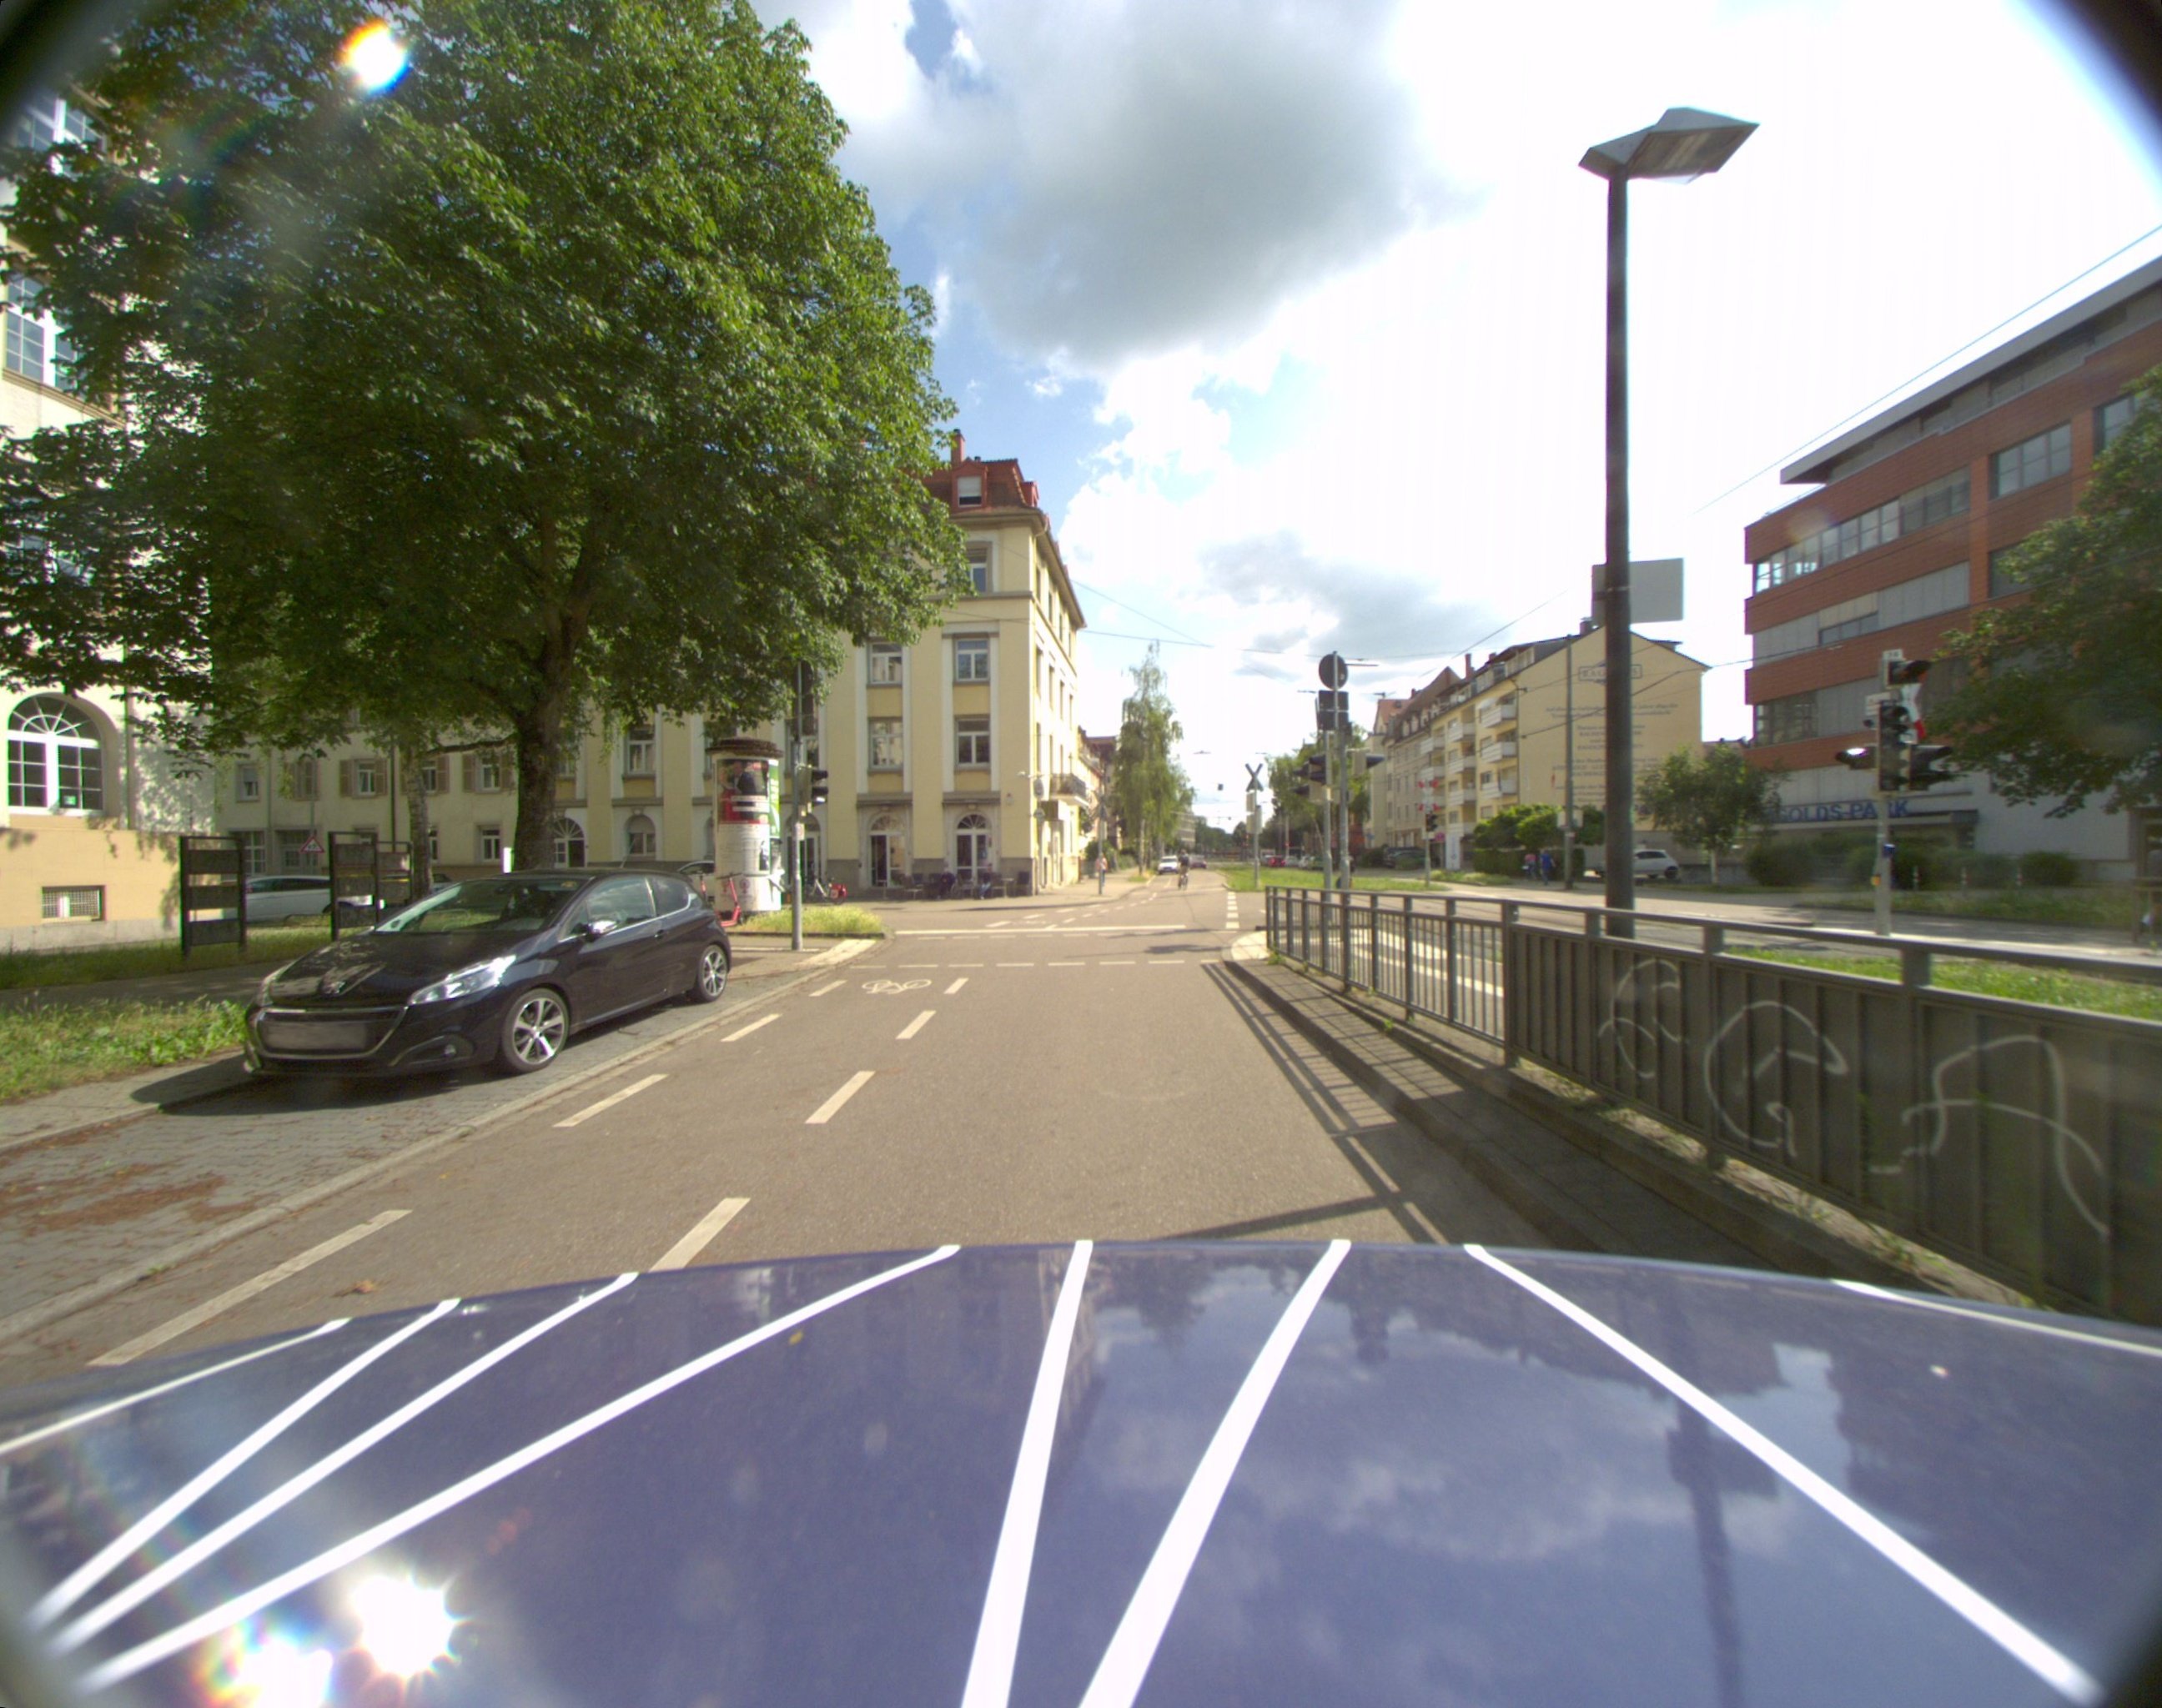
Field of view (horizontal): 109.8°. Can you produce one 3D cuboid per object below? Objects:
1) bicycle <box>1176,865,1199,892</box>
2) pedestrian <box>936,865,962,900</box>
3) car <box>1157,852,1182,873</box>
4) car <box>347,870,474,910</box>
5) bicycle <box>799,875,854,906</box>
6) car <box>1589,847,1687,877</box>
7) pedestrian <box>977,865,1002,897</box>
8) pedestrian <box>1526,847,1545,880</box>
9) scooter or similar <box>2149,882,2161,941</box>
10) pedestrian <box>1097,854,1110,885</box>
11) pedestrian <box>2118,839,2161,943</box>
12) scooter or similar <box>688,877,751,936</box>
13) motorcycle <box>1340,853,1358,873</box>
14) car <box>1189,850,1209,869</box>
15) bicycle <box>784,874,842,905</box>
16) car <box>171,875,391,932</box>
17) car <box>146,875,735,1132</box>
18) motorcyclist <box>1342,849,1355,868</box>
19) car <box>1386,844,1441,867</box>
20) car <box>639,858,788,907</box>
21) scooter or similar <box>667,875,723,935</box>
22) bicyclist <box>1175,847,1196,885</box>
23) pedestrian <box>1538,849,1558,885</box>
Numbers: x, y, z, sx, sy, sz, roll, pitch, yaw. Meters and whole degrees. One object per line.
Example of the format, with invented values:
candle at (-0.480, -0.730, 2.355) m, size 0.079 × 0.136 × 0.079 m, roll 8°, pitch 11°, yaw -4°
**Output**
bicycle at (4.985, 1.108, 35.654) m, size 0.772 × 1.097 × 2.571 m, roll -5°, pitch 0°, yaw 3°
pedestrian at (-5.177, 1.113, 29.799) m, size 0.804 × 1.281 × 0.759 m, roll -1°, pitch 3°, yaw 4°
car at (7.443, 0.718, 64.412) m, size 1.848 × 1.606 × 3.814 m, roll -2°, pitch 1°, yaw 4°
car at (-27.624, 1.477, 31.336) m, size 3.993 × 1.417 × 1.858 m, roll -1°, pitch 4°, yaw 13°
bicycle at (-9.283, 1.313, 27.677) m, size 1.941 × 1.039 × 0.617 m, roll 0°, pitch 2°, yaw 22°
car at (28.325, 0.431, 38.727) m, size 3.608 × 1.470 × 1.777 m, roll -1°, pitch -3°, yaw 8°
pedestrian at (-3.639, 1.065, 30.221) m, size 0.804 × 1.238 × 0.892 m, roll -1°, pitch 3°, yaw 4°
pedestrian at (23.341, 0.494, 39.023) m, size 0.649 × 1.700 × 0.588 m, roll -1°, pitch 1°, yaw 2°
scooter or similar at (19.577, 1.025, 13.279) m, size 0.988 × 1.049 × 0.620 m, roll 1°, pitch 0°, yaw -4°
pedestrian at (1.164, 0.802, 39.445) m, size 0.593 × 1.622 × 0.538 m, roll 2°, pitch 1°, yaw 3°
pedestrian at (18.821, 0.643, 13.236) m, size 0.659 × 1.782 × 0.620 m, roll 1°, pitch 0°, yaw -4°
scooter or similar at (-7.565, 1.086, 15.928) m, size 0.414 × 1.171 × 1.128 m, roll -3°, pitch -1°, yaw 29°
motorcycle at (19.451, 0.638, 55.123) m, size 0.634 × 1.395 × 2.010 m, roll -2°, pitch 1°, yaw 4°
car at (13.042, 0.597, 84.225) m, size 1.997 × 2.002 × 4.002 m, roll -2°, pitch 1°, yaw 8°
bicycle at (-9.971, 1.310, 28.295) m, size 1.944 × 1.134 × 0.616 m, roll 0°, pitch 2°, yaw -2°
car at (-23.096, 1.356, 22.092) m, size 1.852 × 1.344 × 4.188 m, roll -1°, pitch 0°, yaw 37°
car at (-4.765, 0.958, 6.553) m, size 1.689 × 1.379 × 3.924 m, roll 0°, pitch 1°, yaw 1°
motorcyclist at (19.409, 0.318, 55.124) m, size 0.663 × 1.350 × 0.693 m, roll -2°, pitch 1°, yaw 4°
car at (30.425, 0.136, 69.648) m, size 4.255 × 2.002 × 2.002 m, roll -1°, pitch 0°, yaw 10°
car at (-13.705, 1.058, 28.437) m, size 4.828 × 1.646 × 1.858 m, roll -1°, pitch 2°, yaw 11°
scooter or similar at (-8.291, 1.076, 16.302) m, size 1.105 × 1.234 × 0.447 m, roll -1°, pitch 1°, yaw 23°
bicyclist at (4.901, 0.551, 35.660) m, size 0.772 × 1.664 × 0.951 m, roll -5°, pitch 0°, yaw 3°
pedestrian at (21.941, 0.604, 35.681) m, size 0.649 × 1.700 × 0.481 m, roll -1°, pitch 1°, yaw 2°
